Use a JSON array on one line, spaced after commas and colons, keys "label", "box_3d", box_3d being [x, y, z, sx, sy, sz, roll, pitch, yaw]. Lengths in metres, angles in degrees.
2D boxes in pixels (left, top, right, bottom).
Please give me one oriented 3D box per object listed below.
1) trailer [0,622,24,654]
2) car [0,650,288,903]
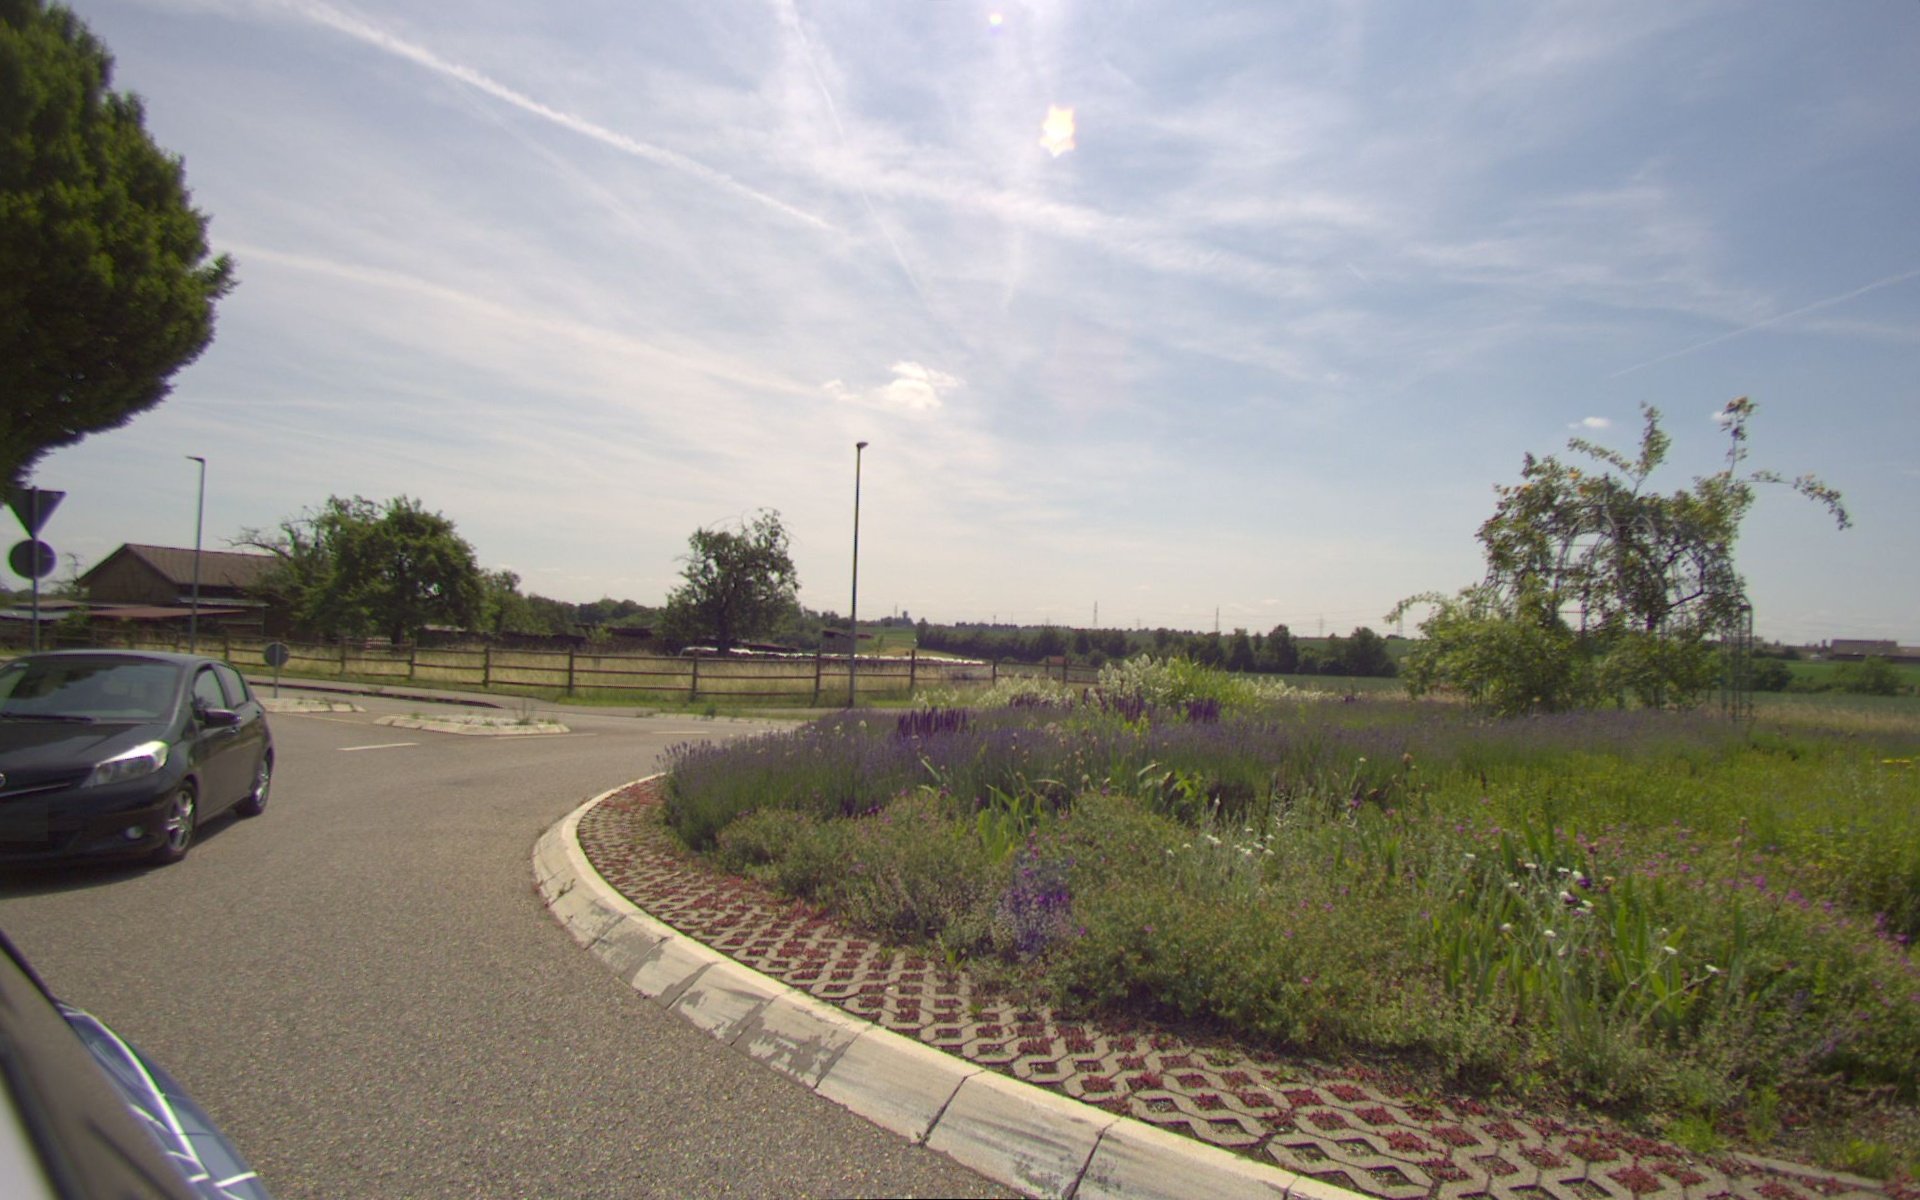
[{"label": "trailer", "box_3d": [-54.450, 2.028, 56.288, 5.012, 1.716, 2.138, 0, -5, 32]}, {"label": "car", "box_3d": [-6.657, 1.147, 7.970, 1.649, 1.476, 4.446, 3, -4, -26]}]
